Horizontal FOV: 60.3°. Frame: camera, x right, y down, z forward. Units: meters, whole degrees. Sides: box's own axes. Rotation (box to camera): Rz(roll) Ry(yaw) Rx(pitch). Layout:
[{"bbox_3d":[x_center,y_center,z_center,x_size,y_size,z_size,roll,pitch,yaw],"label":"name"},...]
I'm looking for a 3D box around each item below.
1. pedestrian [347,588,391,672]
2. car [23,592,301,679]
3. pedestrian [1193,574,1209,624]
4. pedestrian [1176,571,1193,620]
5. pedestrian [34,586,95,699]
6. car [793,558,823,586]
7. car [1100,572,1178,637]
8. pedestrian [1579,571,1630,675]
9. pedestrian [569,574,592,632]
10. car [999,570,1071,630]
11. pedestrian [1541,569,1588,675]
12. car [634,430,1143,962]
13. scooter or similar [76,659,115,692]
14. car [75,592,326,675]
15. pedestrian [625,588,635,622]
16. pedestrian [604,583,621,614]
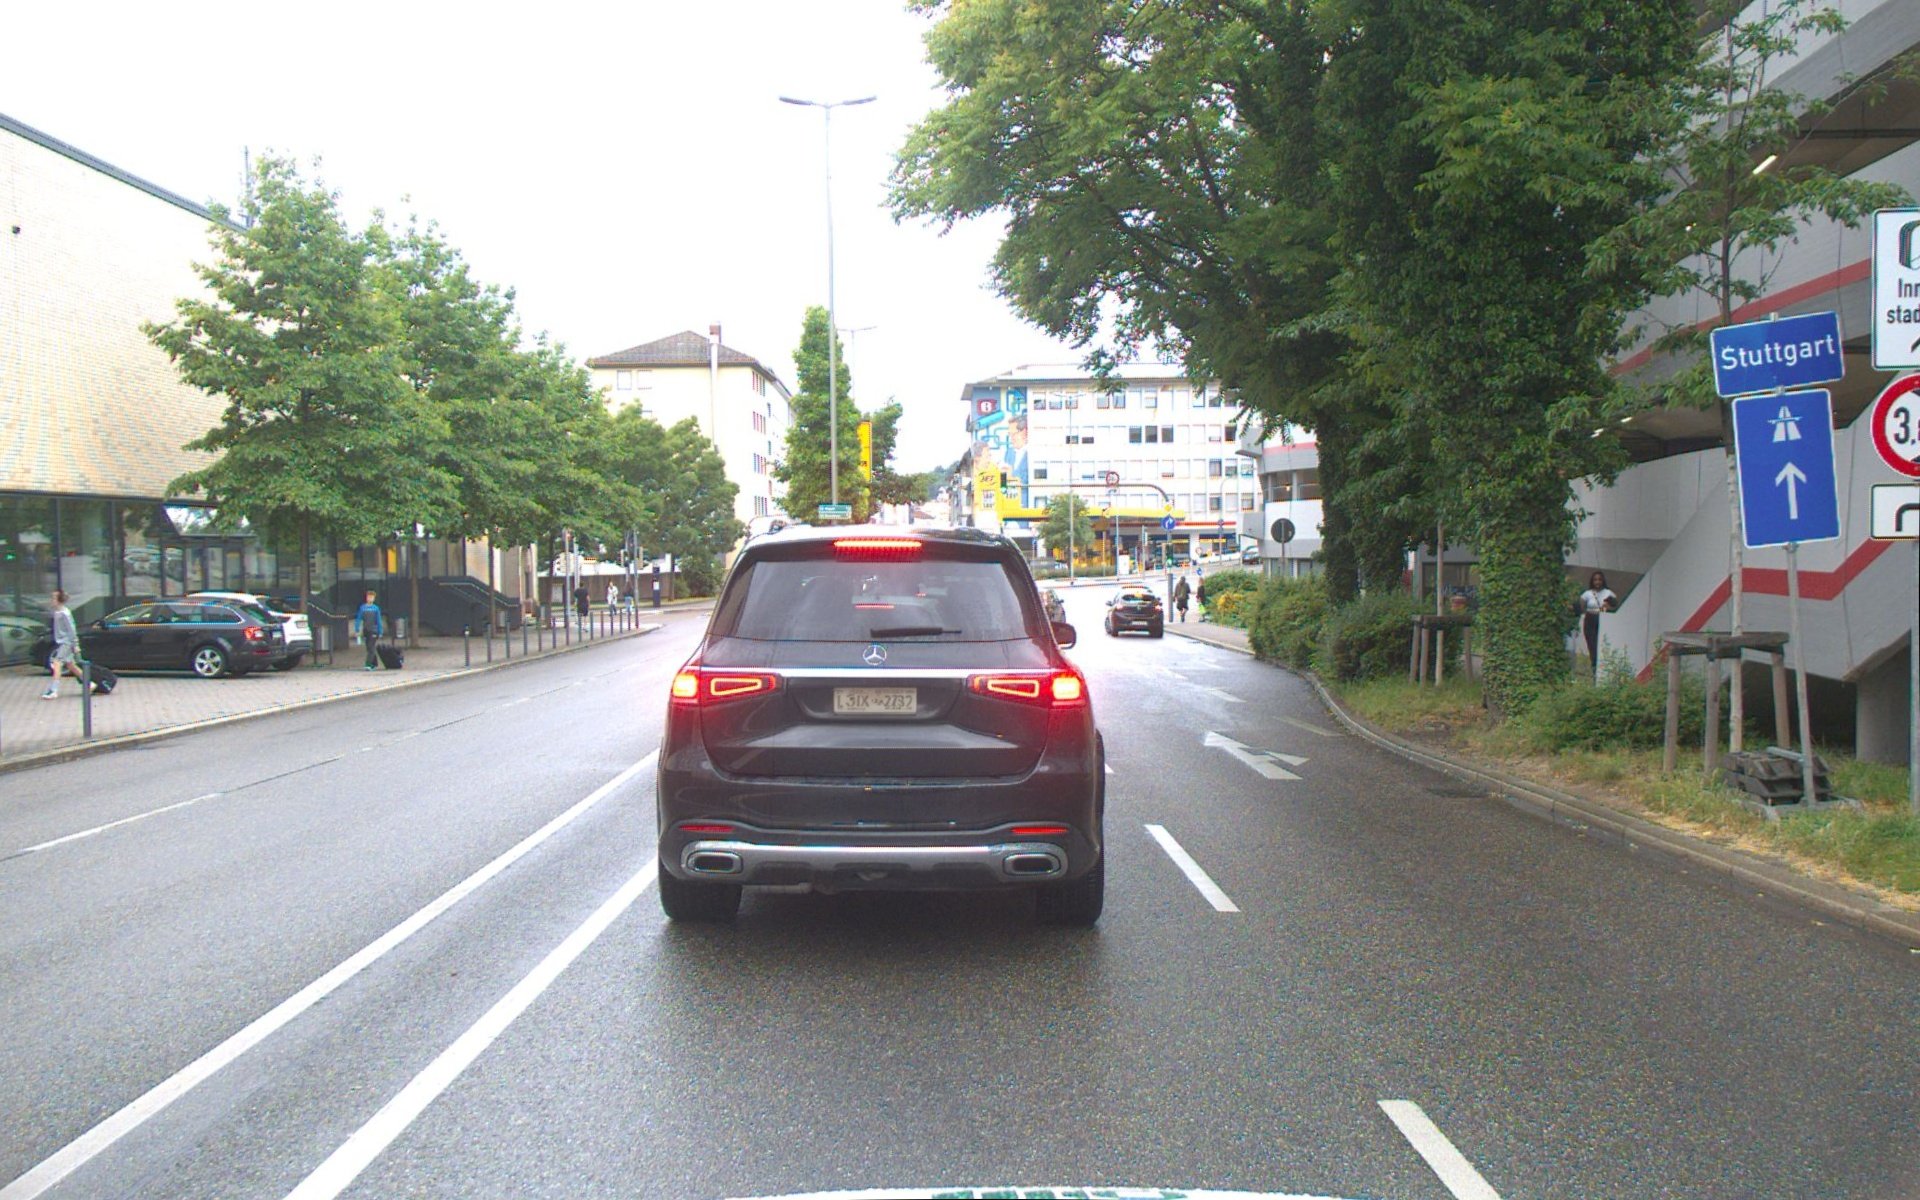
[{"bbox_3d":[-12.727,0.637,35.621,0.675,1.755,0.754,1,1,-2],"label":"pedestrian"},{"bbox_3d":[-15.283,0.659,31.894,4.383,1.615,1.997,0,0,-8],"label":"car"},{"bbox_3d":[9.550,-0.048,65.504,0.509,1.944,0.556,1,-1,-1],"label":"pedestrian"},{"bbox_3d":[9.006,-0.180,66.432,0.607,1.969,0.610,1,0,3],"label":"pedestrian"},{"bbox_3d":[-13.967,0.658,25.811,0.662,1.726,0.479,1,1,-1],"label":"pedestrian"},{"bbox_3d":[-11.115,-2.035,121.338,1.954,1.908,5.139,1,0,-3],"label":"car"},{"bbox_3d":[5.854,0.129,54.594,1.954,2.049,3.998,0,1,-3],"label":"car"},{"bbox_3d":[9.629,0.337,24.733,0.569,1.528,0.504,1,-1,4],"label":"pedestrian"},{"bbox_3d":[-13.569,0.105,59.156,0.576,2.049,0.749,3,0,-3],"label":"pedestrian"},{"bbox_3d":[2.664,0.000,59.838,1.956,2.049,3.994,1,0,-7],"label":"car"},{"bbox_3d":[9.062,0.326,24.797,0.539,1.559,0.488,1,-1,5],"label":"pedestrian"},{"bbox_3d":[-0.344,0.394,8.478,1.953,2.049,3.998,1,0,-2],"label":"car"},{"bbox_3d":[-13.791,1.200,26.393,0.274,0.509,0.616,1,-1,3],"label":"scooter or similar"},{"bbox_3d":[-15.819,0.678,34.647,4.331,1.601,1.998,1,2,-6],"label":"car"},{"bbox_3d":[-16.179,0.255,81.094,0.391,1.673,0.567,1,-1,-1],"label":"pedestrian"},{"bbox_3d":[-17.143,-0.065,81.525,0.697,1.487,0.598,1,-1,-2],"label":"pedestrian"}]
